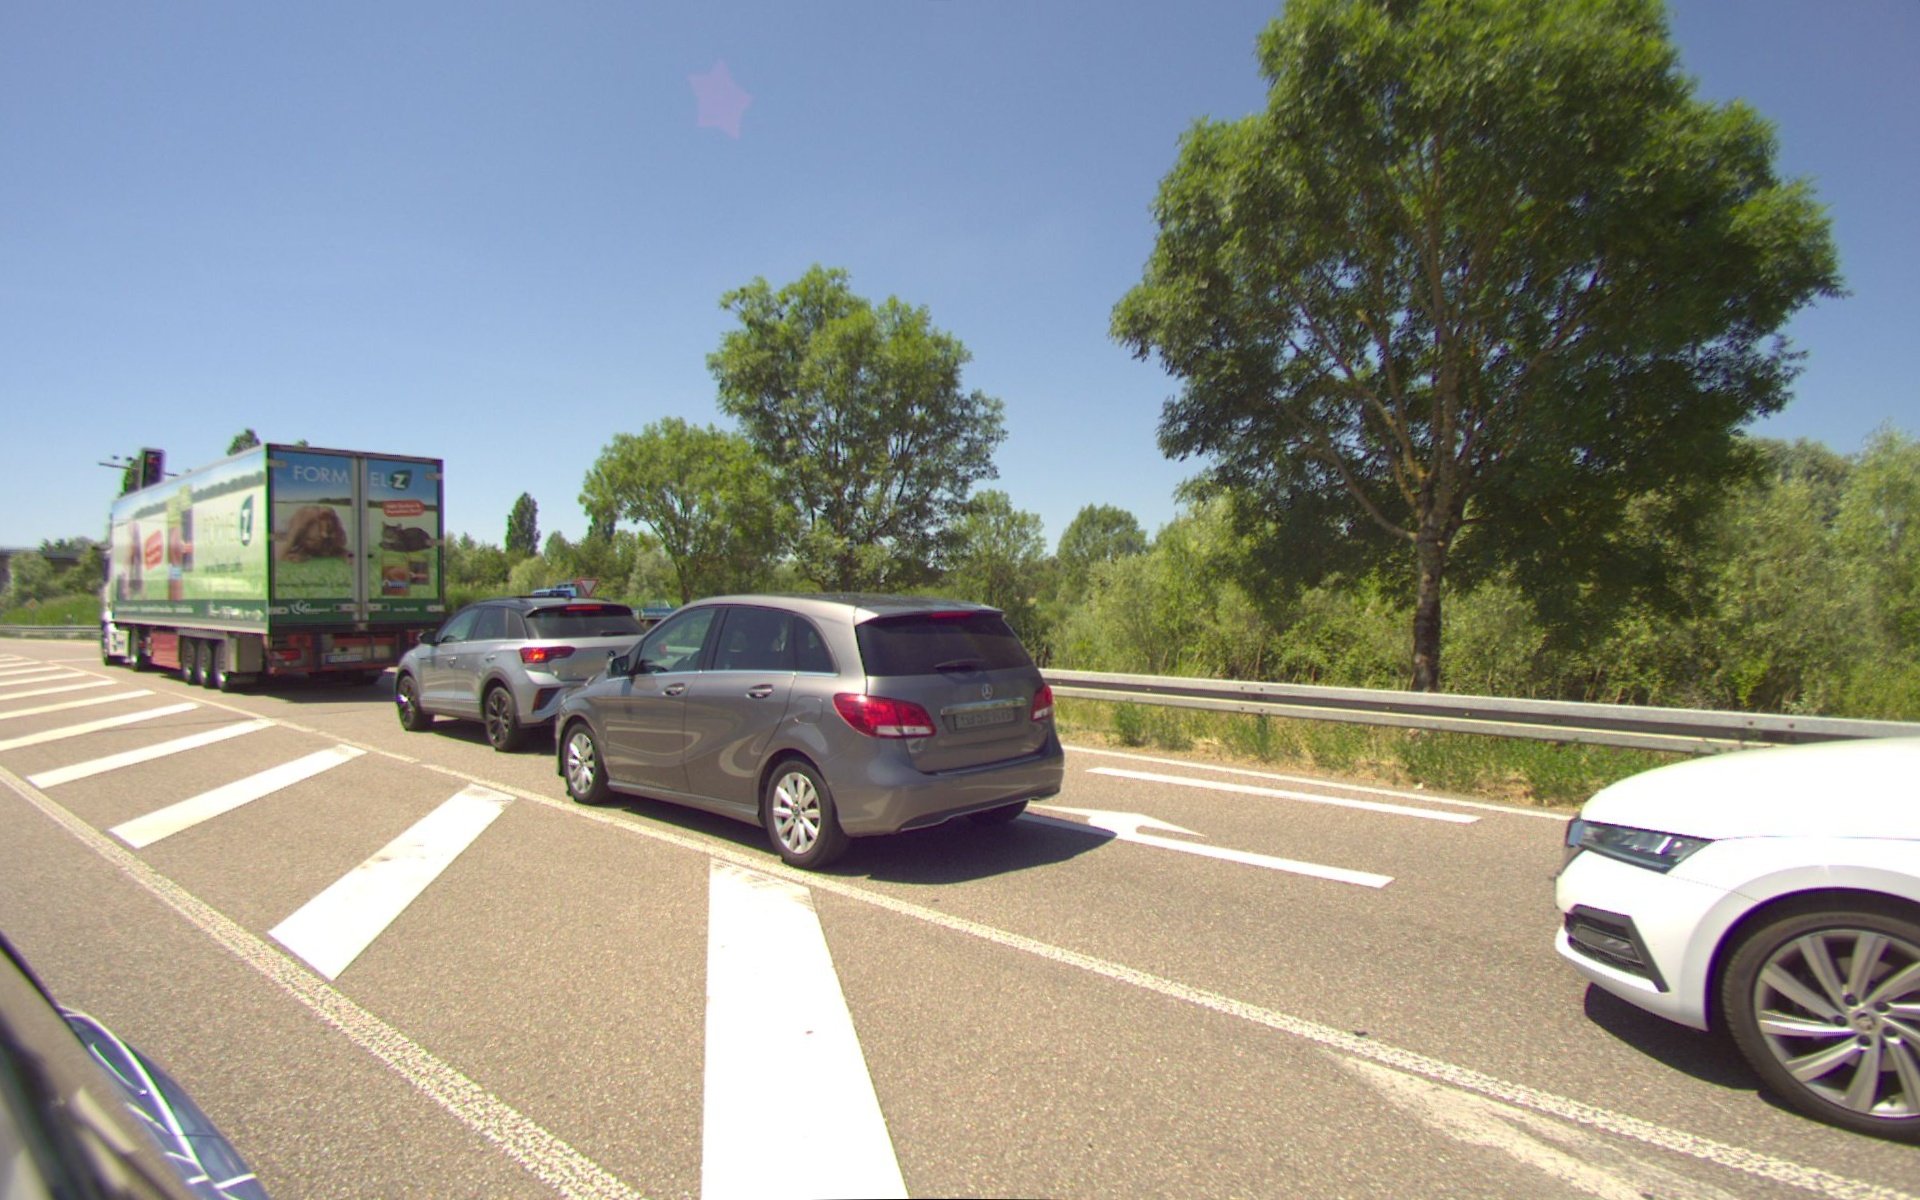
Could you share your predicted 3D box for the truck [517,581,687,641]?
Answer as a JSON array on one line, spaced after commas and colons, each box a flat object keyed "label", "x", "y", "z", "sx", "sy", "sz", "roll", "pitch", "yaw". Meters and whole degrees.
[{"label": "truck", "x": -20.519, "y": 0.704, "z": 58.576, "sx": 2.695, "sy": 3.220, "sz": 9.048, "roll": -1, "pitch": -2, "yaw": 42}]

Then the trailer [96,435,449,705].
[{"label": "trailer", "x": -14.880, "y": -0.404, "z": 20.952, "sx": 14.119, "sy": 4.075, "sz": 2.661, "roll": -1, "pitch": 0, "yaw": 42}]

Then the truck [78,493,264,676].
[{"label": "truck", "x": -19.924, "y": -0.340, "z": 25.449, "sx": 5.823, "sy": 4.075, "sz": 2.661, "roll": -1, "pitch": 0, "yaw": 42}]

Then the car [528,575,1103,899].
[{"label": "car", "x": -1.266, "y": 0.707, "z": 6.974, "sx": 4.386, "sy": 1.549, "sz": 1.605, "roll": -1, "pitch": -2, "yaw": 45}]

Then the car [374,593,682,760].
[{"label": "car", "x": -5.064, "y": 0.751, "z": 11.588, "sx": 4.154, "sy": 1.573, "sz": 1.693, "roll": -1, "pitch": -1, "yaw": 42}]

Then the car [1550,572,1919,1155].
[{"label": "car", "x": 4.081, "y": 0.648, "z": 2.145, "sx": 4.631, "sy": 1.490, "sz": 1.635, "roll": -1, "pitch": -1, "yaw": 44}]
